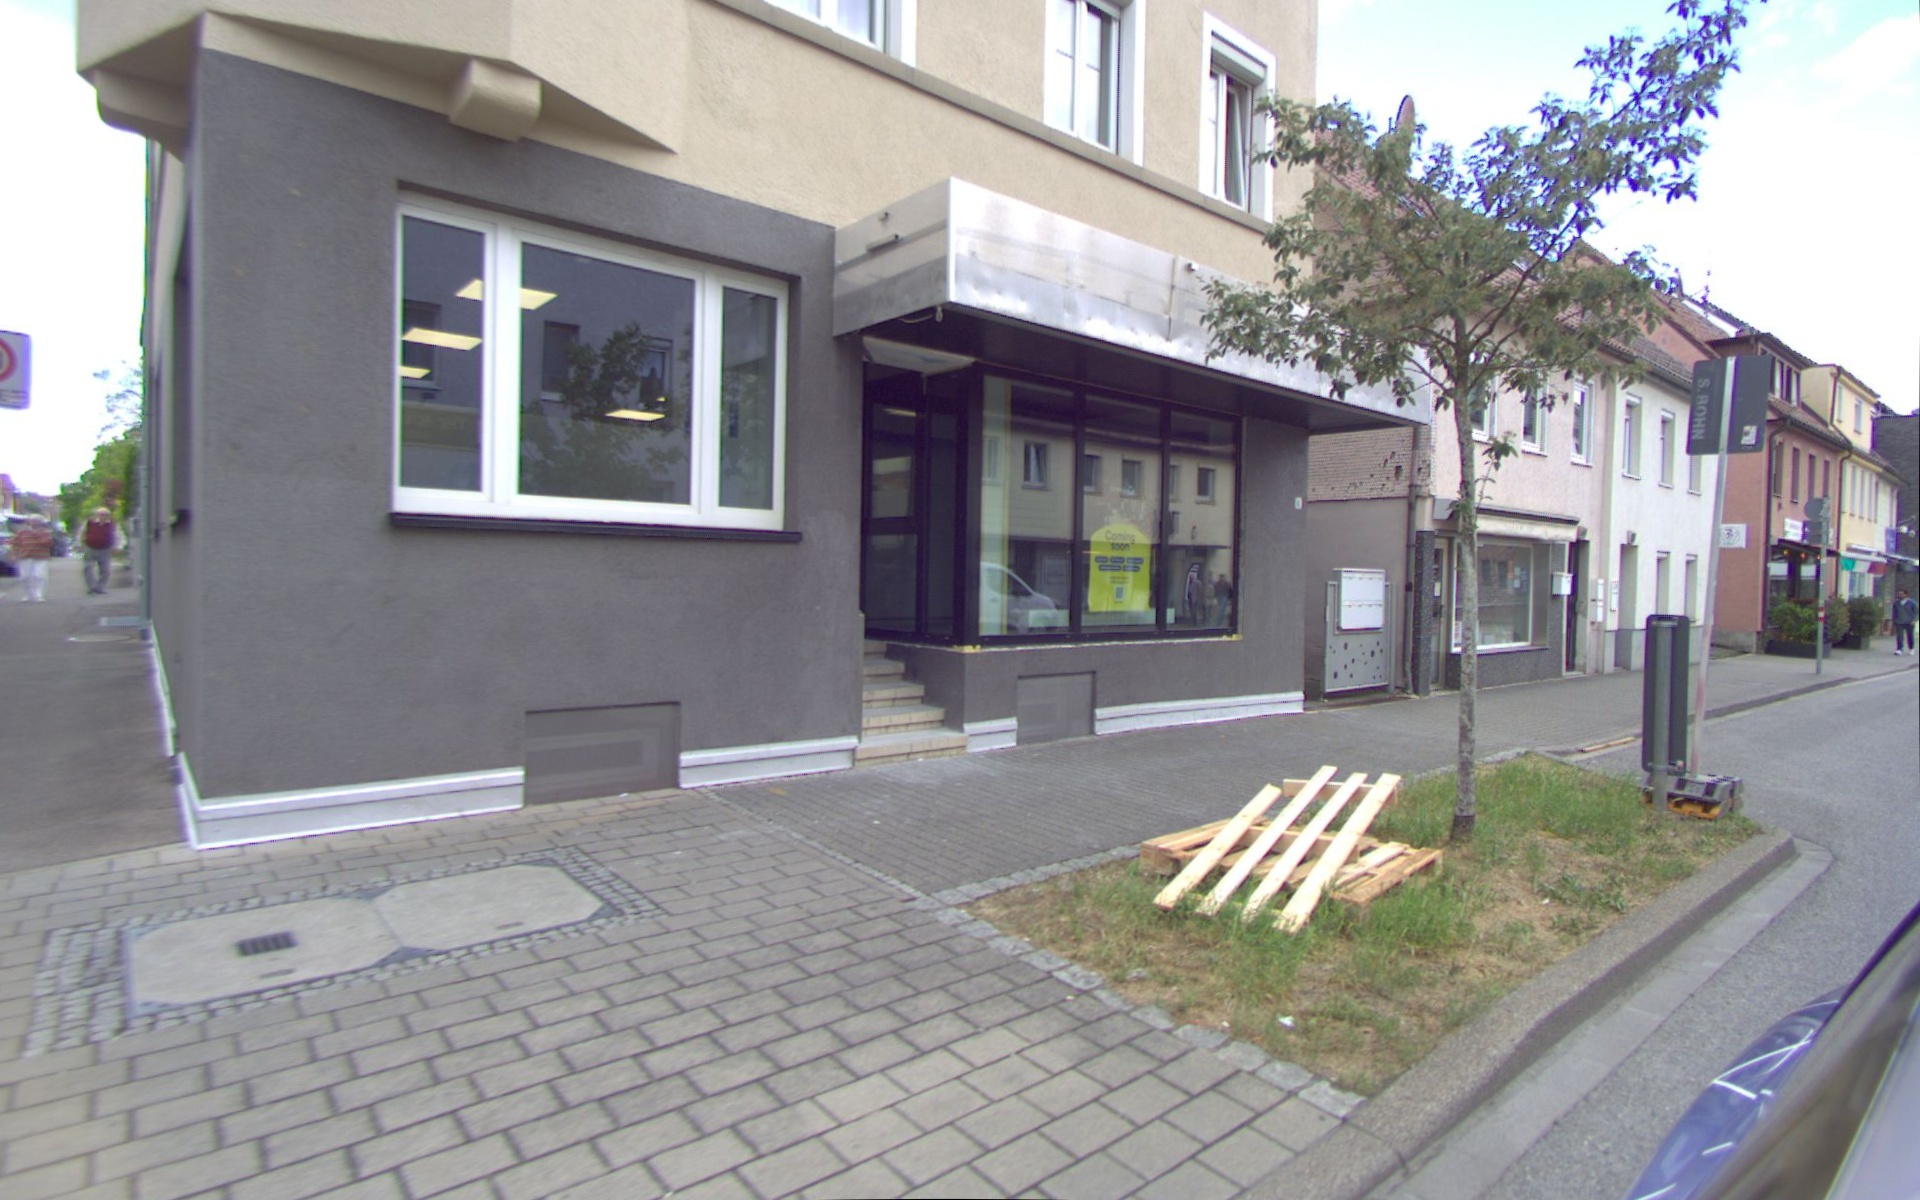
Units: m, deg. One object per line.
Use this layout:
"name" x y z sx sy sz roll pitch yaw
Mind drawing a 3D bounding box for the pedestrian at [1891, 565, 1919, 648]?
"pedestrian" 24.931 0.168 26.322 0.994 2.099 0.826 -1 5 -42

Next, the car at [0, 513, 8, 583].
"car" -21.413 -1.131 21.230 1.875 1.489 4.434 1 3 -41

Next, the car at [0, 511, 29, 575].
"car" -24.643 -1.496 25.271 1.875 1.489 4.434 1 3 -41
